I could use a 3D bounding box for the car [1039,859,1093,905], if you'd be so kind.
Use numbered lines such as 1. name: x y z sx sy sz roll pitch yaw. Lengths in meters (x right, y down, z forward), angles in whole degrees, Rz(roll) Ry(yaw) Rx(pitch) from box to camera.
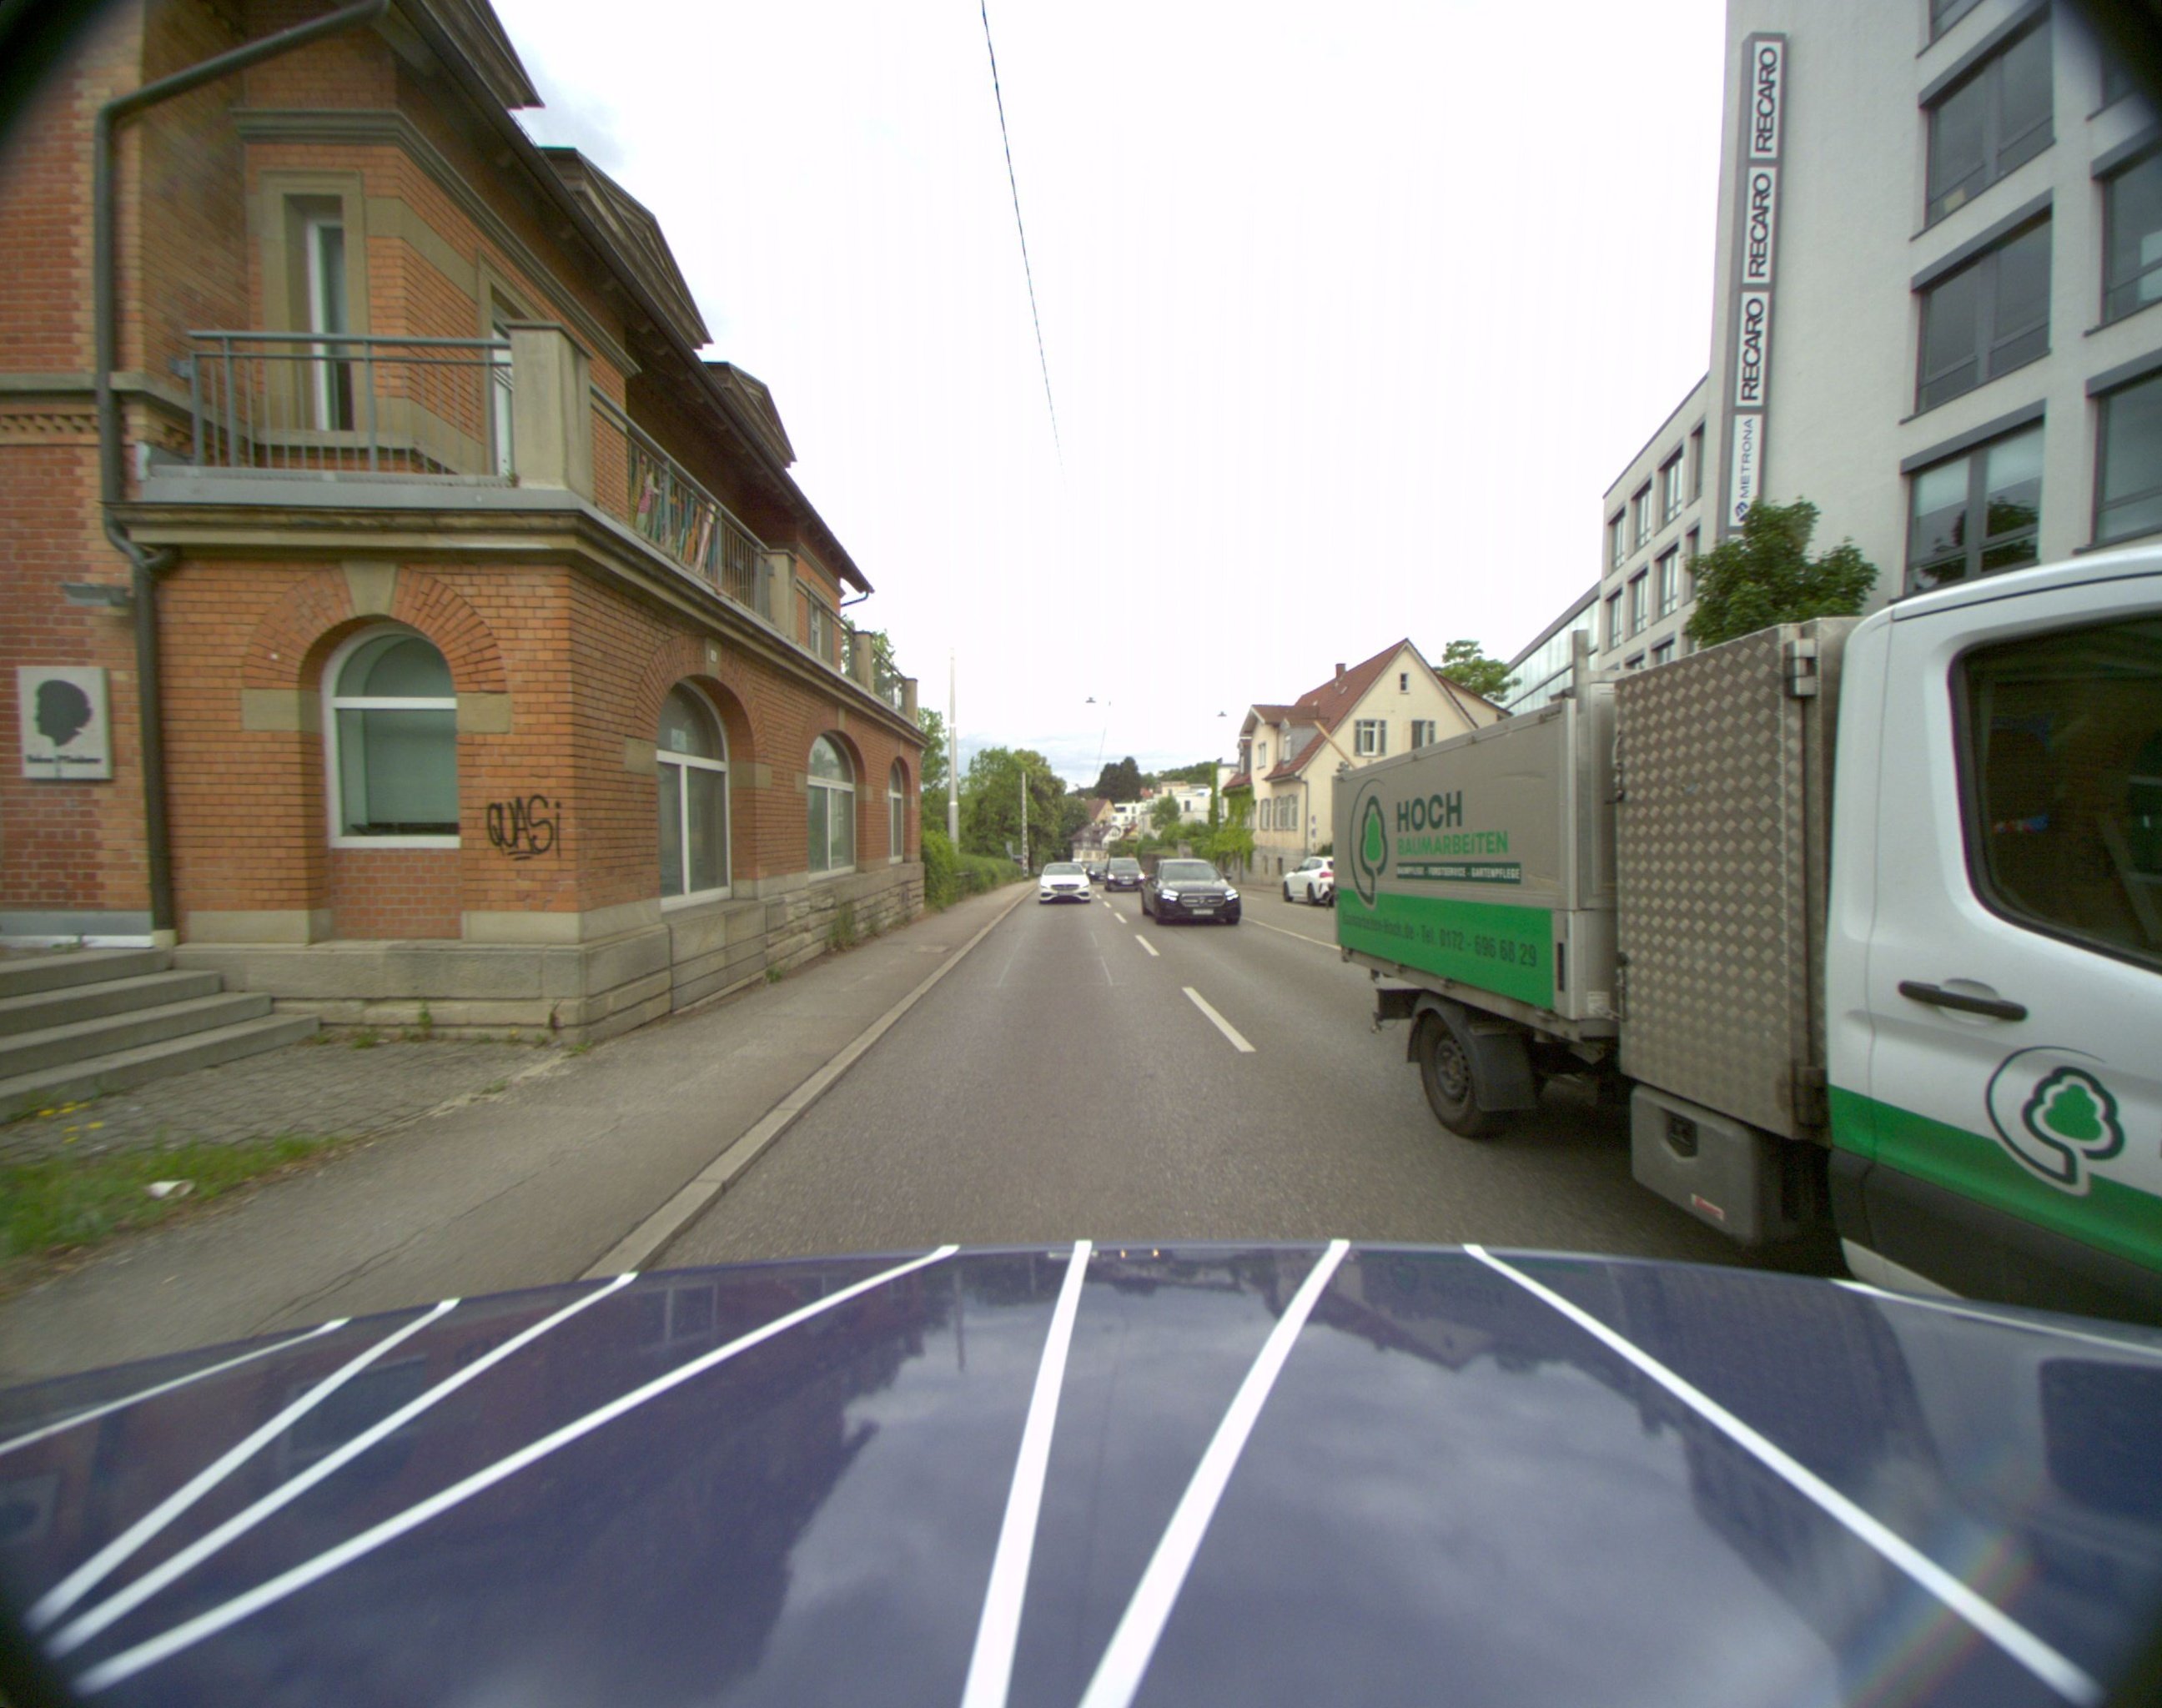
1. car: -0.523 0.950 27.582 1.809 1.521 4.000 -1 0 -1

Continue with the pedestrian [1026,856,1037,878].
1. pedestrian: -4.171 1.102 63.911 0.814 1.873 0.949 1 0 3

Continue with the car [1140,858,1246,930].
1. car: 2.583 0.875 18.504 1.878 1.521 4.335 -1 0 -1

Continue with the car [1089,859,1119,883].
1. car: 1.528 1.154 52.670 1.878 1.521 4.000 -1 0 -1

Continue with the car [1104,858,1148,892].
1. car: 2.144 0.987 37.178 1.878 1.521 4.000 -1 0 -1

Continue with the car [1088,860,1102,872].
1. car: 1.693 1.424 92.929 1.680 1.426 3.713 0 0 0

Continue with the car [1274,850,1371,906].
1. car: 8.495 0.775 27.166 1.874 1.779 4.653 2 0 -1

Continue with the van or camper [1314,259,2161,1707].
1. van or camper: 2.929 0.291 2.231 2.350 2.647 5.961 -2 2 -3

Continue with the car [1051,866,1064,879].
1. car: -3.185 2.520 104.212 1.712 1.680 3.791 0 1 -2
